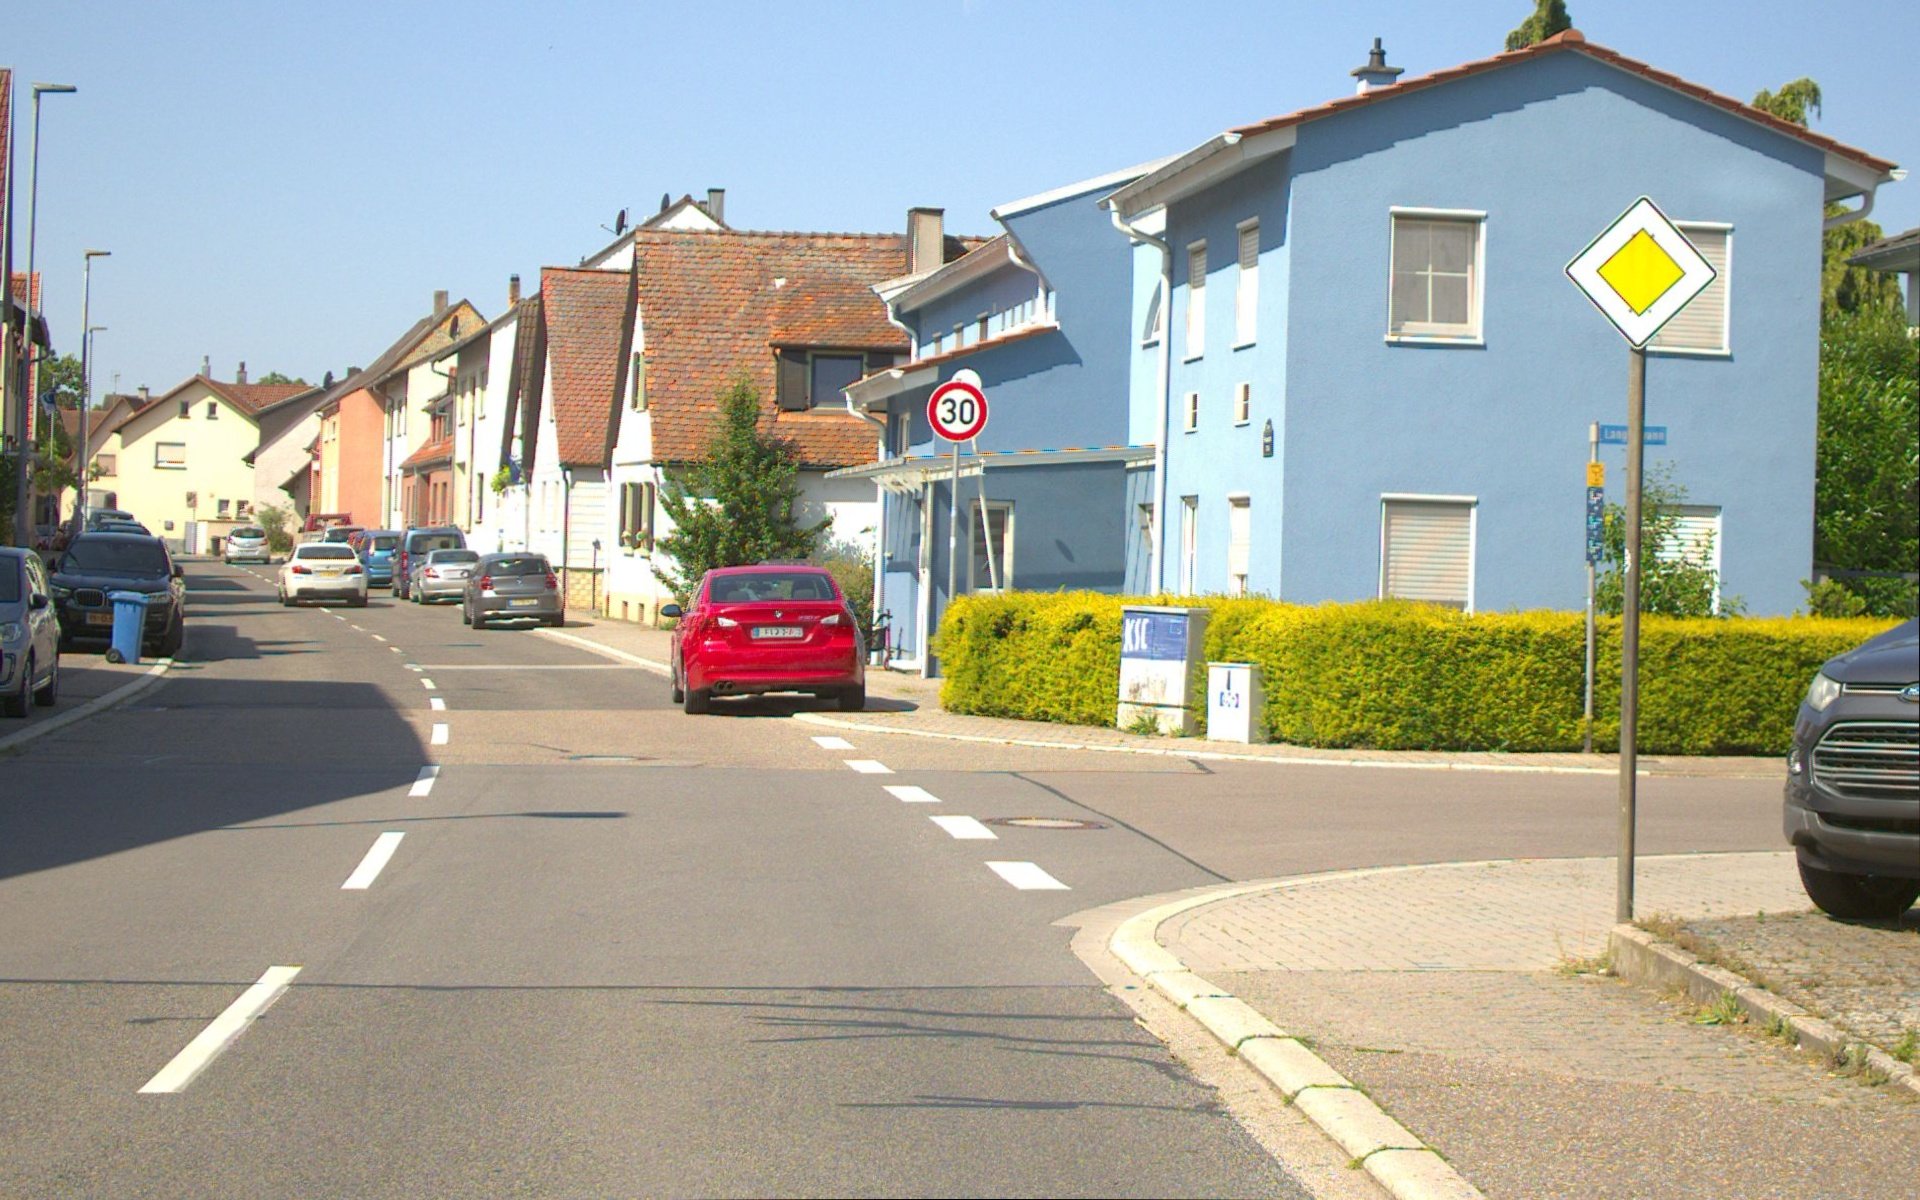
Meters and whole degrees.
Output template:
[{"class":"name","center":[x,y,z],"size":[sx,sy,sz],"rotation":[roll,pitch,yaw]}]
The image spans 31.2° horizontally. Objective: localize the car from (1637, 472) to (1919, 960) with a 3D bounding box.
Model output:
[{"class":"car","center":[4.657,0.415,13.106],"size":[4.101,1.647,1.831],"rotation":[1,1,-39]}]

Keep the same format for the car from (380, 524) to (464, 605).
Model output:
[{"class":"car","center":[-13.582,-0.901,86.637],"size":[1.649,1.903,3.627],"rotation":[3,0,-14]}]

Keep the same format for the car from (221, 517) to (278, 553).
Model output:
[{"class":"car","center":[-27.611,-2.516,133.561],"size":[1.993,1.284,3.805],"rotation":[2,0,-14]}]

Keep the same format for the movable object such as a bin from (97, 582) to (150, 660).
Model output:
[{"class":"movable object such as a bin","center":[-10.906,0.271,44.811],"size":[0.596,0.979,0.531],"rotation":[3,0,-12]}]

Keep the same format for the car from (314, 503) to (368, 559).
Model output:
[{"class":"car","center":[-22.956,-2.556,127.462],"size":[1.766,1.997,3.451],"rotation":[2,0,-13]}]

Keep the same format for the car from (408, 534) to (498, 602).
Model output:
[{"class":"car","center":[-12.108,-0.787,81.922],"size":[1.704,1.491,3.453],"rotation":[3,0,-14]}]

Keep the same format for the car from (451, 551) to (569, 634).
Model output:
[{"class":"car","center":[-8.610,-0.160,65.581],"size":[1.704,1.428,3.891],"rotation":[3,0,-14]}]

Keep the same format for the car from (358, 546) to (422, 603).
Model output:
[{"class":"car","center":[-16.170,-0.732,97.438],"size":[1.420,1.510,3.305],"rotation":[3,0,-14]}]

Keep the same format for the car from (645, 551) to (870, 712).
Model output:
[{"class":"car","center":[-2.088,0.269,34.344],"size":[1.732,1.489,4.356],"rotation":[1,1,-10]}]

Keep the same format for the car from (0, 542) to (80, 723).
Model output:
[{"class":"car","center":[-9.002,0.202,30.762],"size":[1.640,1.496,3.782],"rotation":[5,0,-8]}]

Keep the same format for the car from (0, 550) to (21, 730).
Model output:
[{"class":"car","center":[-8.198,0.264,25.654],"size":[1.678,1.432,3.997],"rotation":[5,0,-8]}]

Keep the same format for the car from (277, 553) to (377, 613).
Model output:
[{"class":"car","center":[-14.531,-0.410,78.780],"size":[1.993,1.284,4.001],"rotation":[2,0,-14]}]

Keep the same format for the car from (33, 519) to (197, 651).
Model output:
[{"class":"car","center":[-12.105,-0.229,49.488],"size":[1.919,1.662,4.667],"rotation":[4,0,-11]}]

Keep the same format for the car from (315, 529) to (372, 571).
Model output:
[{"class":"car","center":[-22.044,-1.779,122.855],"size":[1.766,1.428,3.451],"rotation":[2,0,-13]}]
